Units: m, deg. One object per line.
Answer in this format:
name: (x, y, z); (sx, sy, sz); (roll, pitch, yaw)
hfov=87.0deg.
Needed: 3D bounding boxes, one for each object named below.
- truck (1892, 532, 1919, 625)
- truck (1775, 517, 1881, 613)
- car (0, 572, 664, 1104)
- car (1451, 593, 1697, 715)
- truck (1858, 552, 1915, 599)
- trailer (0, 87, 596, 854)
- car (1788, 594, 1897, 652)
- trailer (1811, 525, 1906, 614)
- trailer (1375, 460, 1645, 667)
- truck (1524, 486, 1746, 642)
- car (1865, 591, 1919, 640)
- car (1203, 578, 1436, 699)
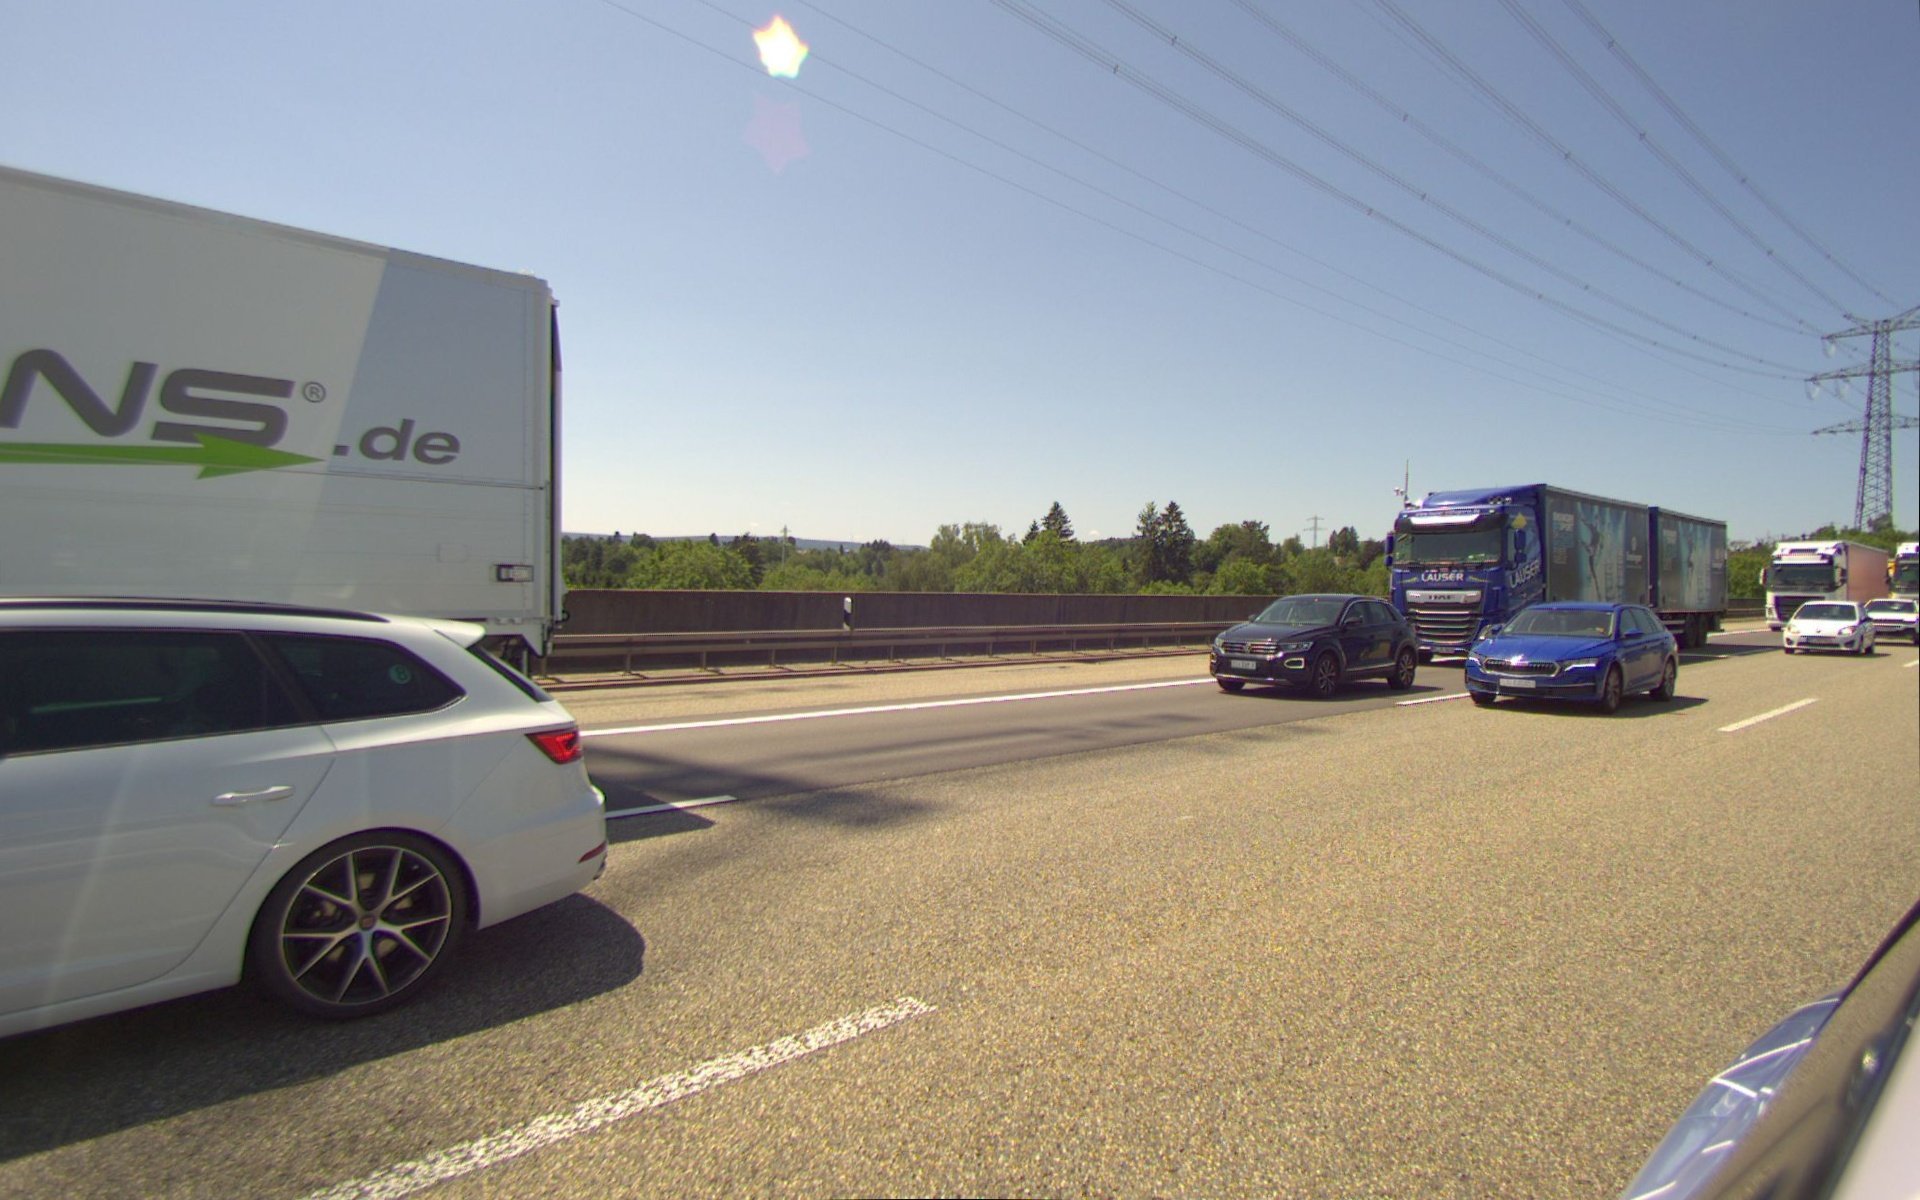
truck: (43.517, -0.931, 44.347); (8.117, 3.874, 2.848); (-1, 0, -40)
truck: (39.694, -1.520, 46.188); (8.122, 4.038, 2.605); (-1, 0, -42)
car: (-3.387, 0.655, 3.295); (4.352, 1.470, 1.711); (0, 0, -42)
car: (8.908, 0.647, 14.518); (4.483, 1.470, 1.711); (-1, 1, -41)
truck: (63.393, -1.683, 69.198); (6.139, 3.018, 2.249); (-1, 4, -43)
trailer: (-6.580, -0.662, 5.674); (8.073, 3.940, 2.903); (-1, 0, -42)
car: (24.503, 0.586, 28.070); (4.072, 1.470, 1.711); (-1, 0, -41)
trailer: (46.098, -1.495, 51.811); (8.929, 4.170, 2.605); (-1, 0, -42)
trailer: (13.306, -0.788, 24.066); (8.487, 4.140, 2.833); (-1, 0, -41)
truck: (20.399, -0.982, 30.236); (10.212, 3.999, 2.857); (-1, 0, -41)
car: (31.721, 0.470, 33.796); (4.072, 1.529, 1.711); (-1, 0, -41)
car: (5.783, 0.510, 16.055); (4.046, 1.675, 1.711); (-1, 0, -41)
